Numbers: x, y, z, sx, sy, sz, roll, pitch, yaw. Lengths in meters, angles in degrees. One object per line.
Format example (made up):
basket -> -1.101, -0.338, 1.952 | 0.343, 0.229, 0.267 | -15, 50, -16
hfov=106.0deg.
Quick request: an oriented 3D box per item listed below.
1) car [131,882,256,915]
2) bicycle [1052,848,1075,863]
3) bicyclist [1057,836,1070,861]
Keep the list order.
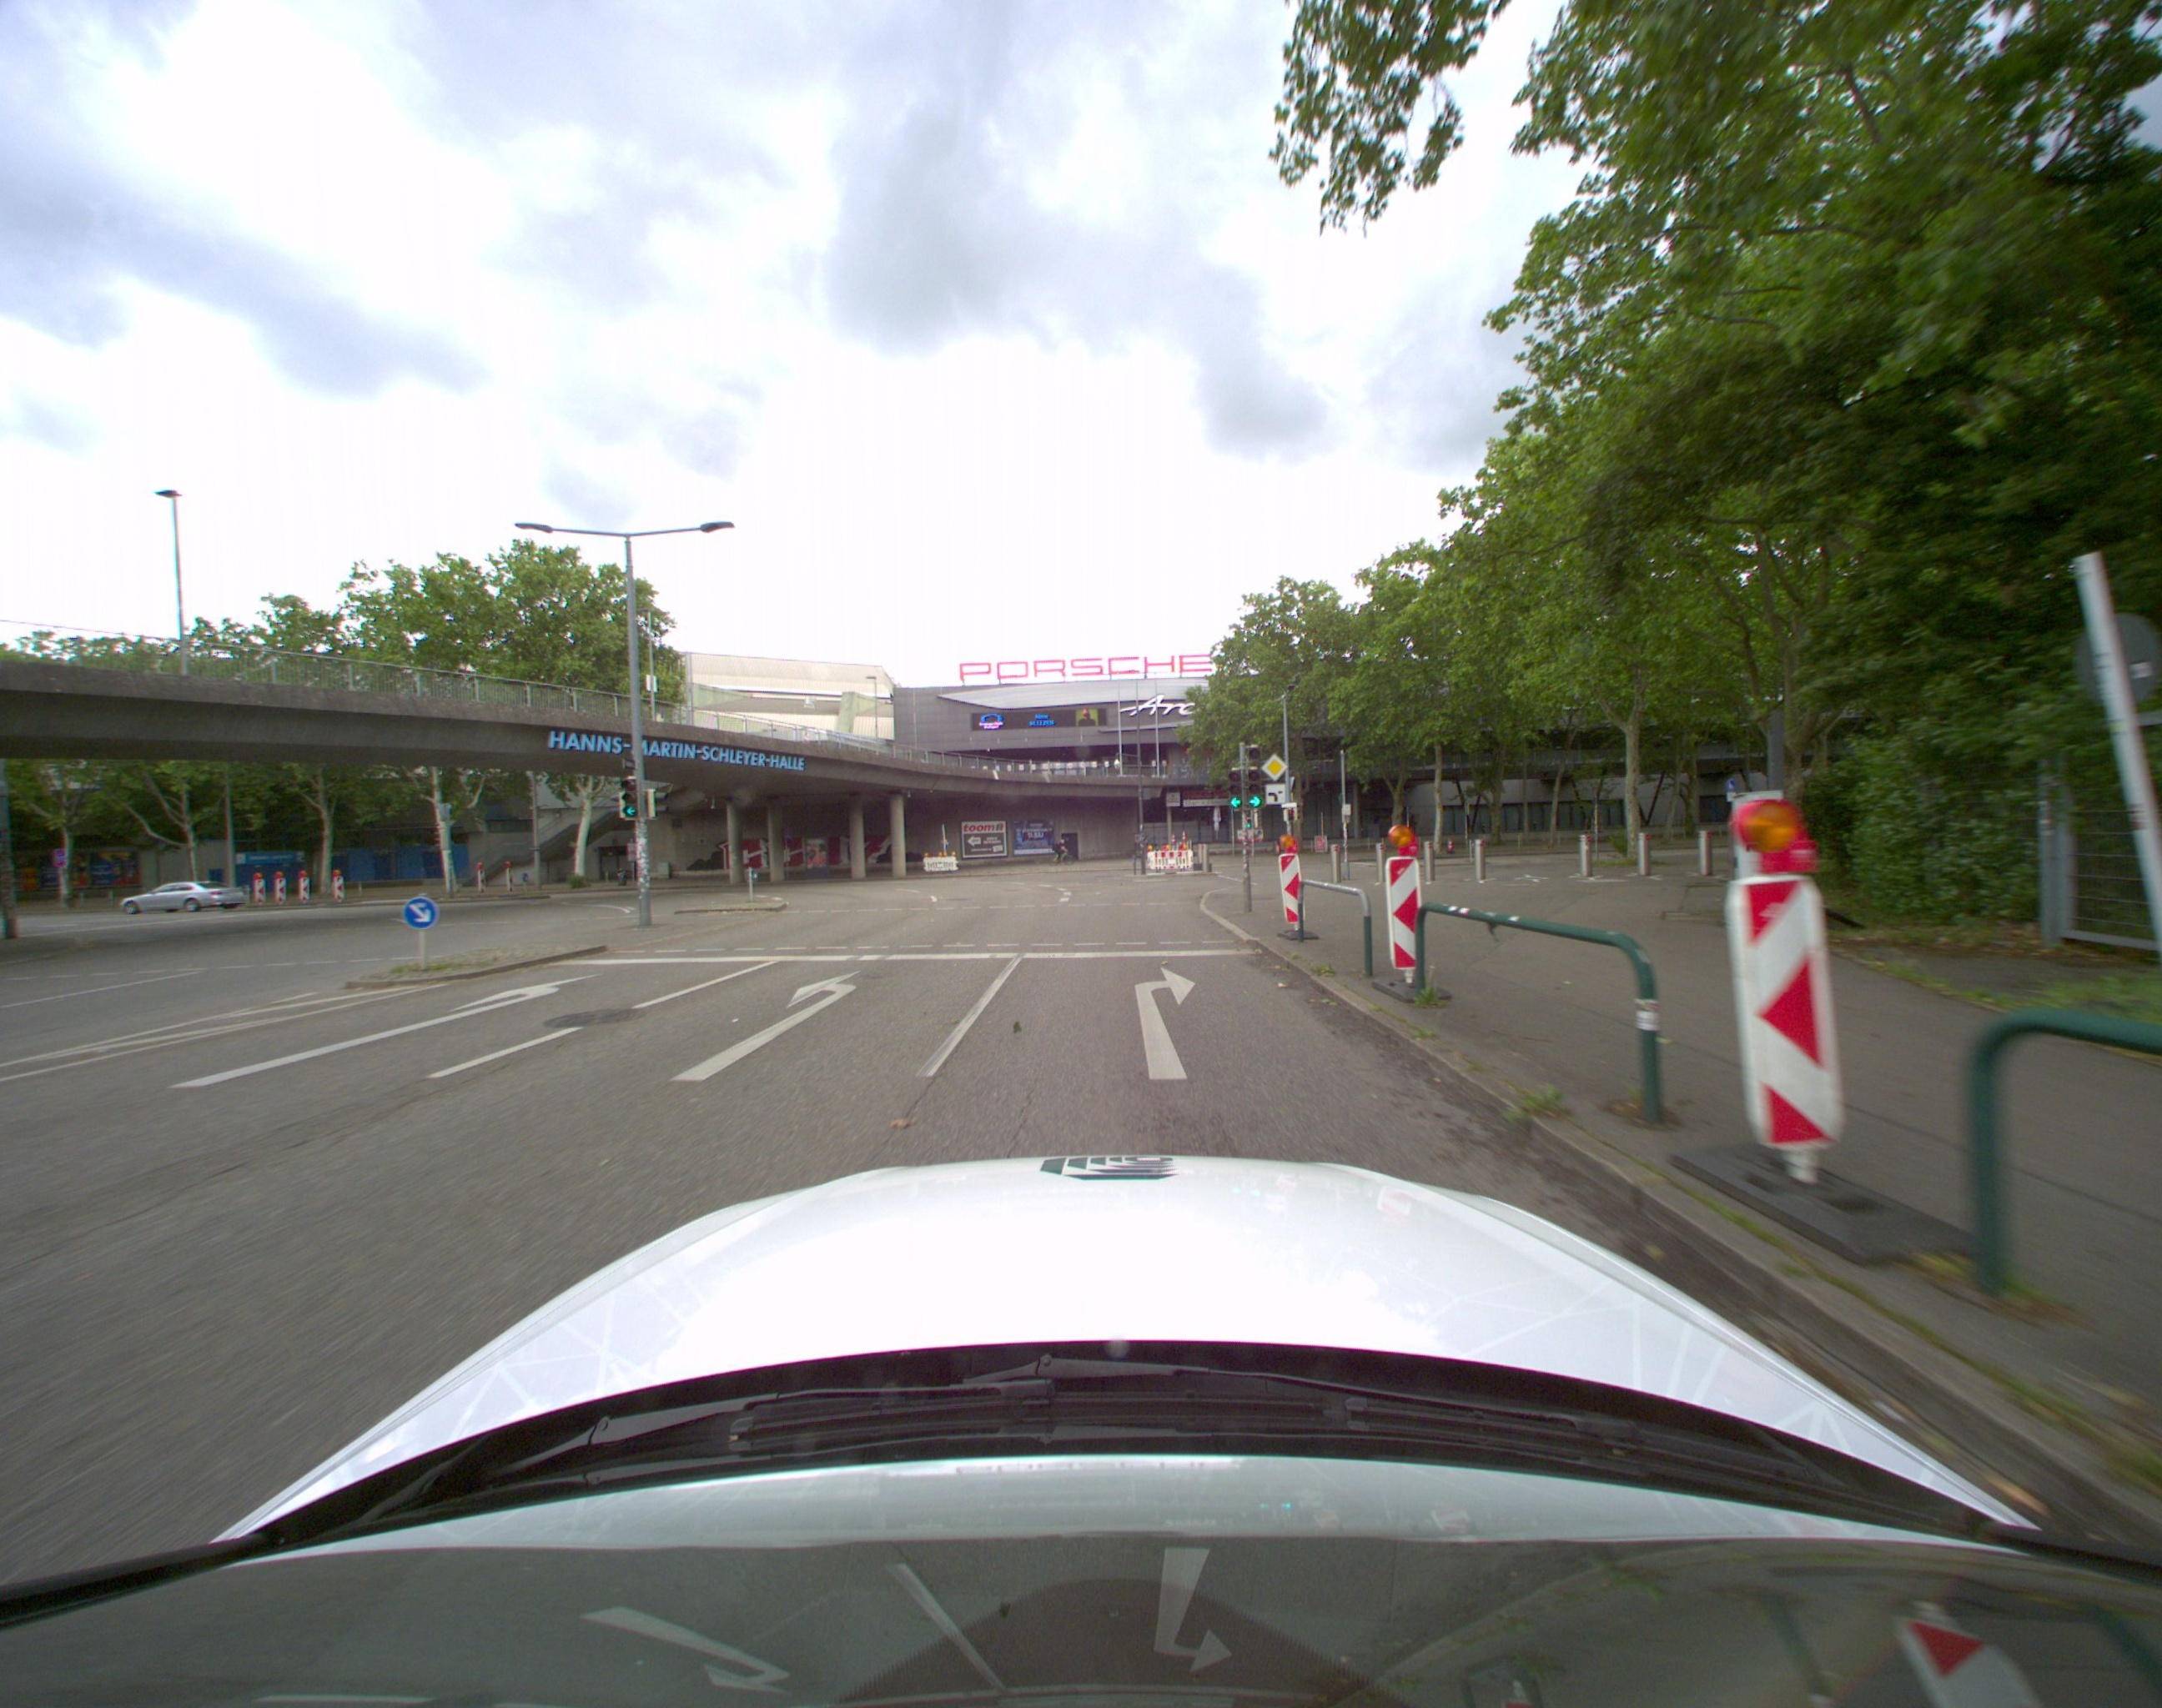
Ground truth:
car -> -43.517, 2.181, 39.995 | 3.971, 1.418, 2.001 | -1, 0, 2
bicycle -> -1.186, 0.101, 54.924 | 1.529, 1.013, 0.516 | 0, 0, -2
bicyclist -> -1.195, -0.380, 54.930 | 0.849, 1.697, 0.766 | 0, 0, -2
